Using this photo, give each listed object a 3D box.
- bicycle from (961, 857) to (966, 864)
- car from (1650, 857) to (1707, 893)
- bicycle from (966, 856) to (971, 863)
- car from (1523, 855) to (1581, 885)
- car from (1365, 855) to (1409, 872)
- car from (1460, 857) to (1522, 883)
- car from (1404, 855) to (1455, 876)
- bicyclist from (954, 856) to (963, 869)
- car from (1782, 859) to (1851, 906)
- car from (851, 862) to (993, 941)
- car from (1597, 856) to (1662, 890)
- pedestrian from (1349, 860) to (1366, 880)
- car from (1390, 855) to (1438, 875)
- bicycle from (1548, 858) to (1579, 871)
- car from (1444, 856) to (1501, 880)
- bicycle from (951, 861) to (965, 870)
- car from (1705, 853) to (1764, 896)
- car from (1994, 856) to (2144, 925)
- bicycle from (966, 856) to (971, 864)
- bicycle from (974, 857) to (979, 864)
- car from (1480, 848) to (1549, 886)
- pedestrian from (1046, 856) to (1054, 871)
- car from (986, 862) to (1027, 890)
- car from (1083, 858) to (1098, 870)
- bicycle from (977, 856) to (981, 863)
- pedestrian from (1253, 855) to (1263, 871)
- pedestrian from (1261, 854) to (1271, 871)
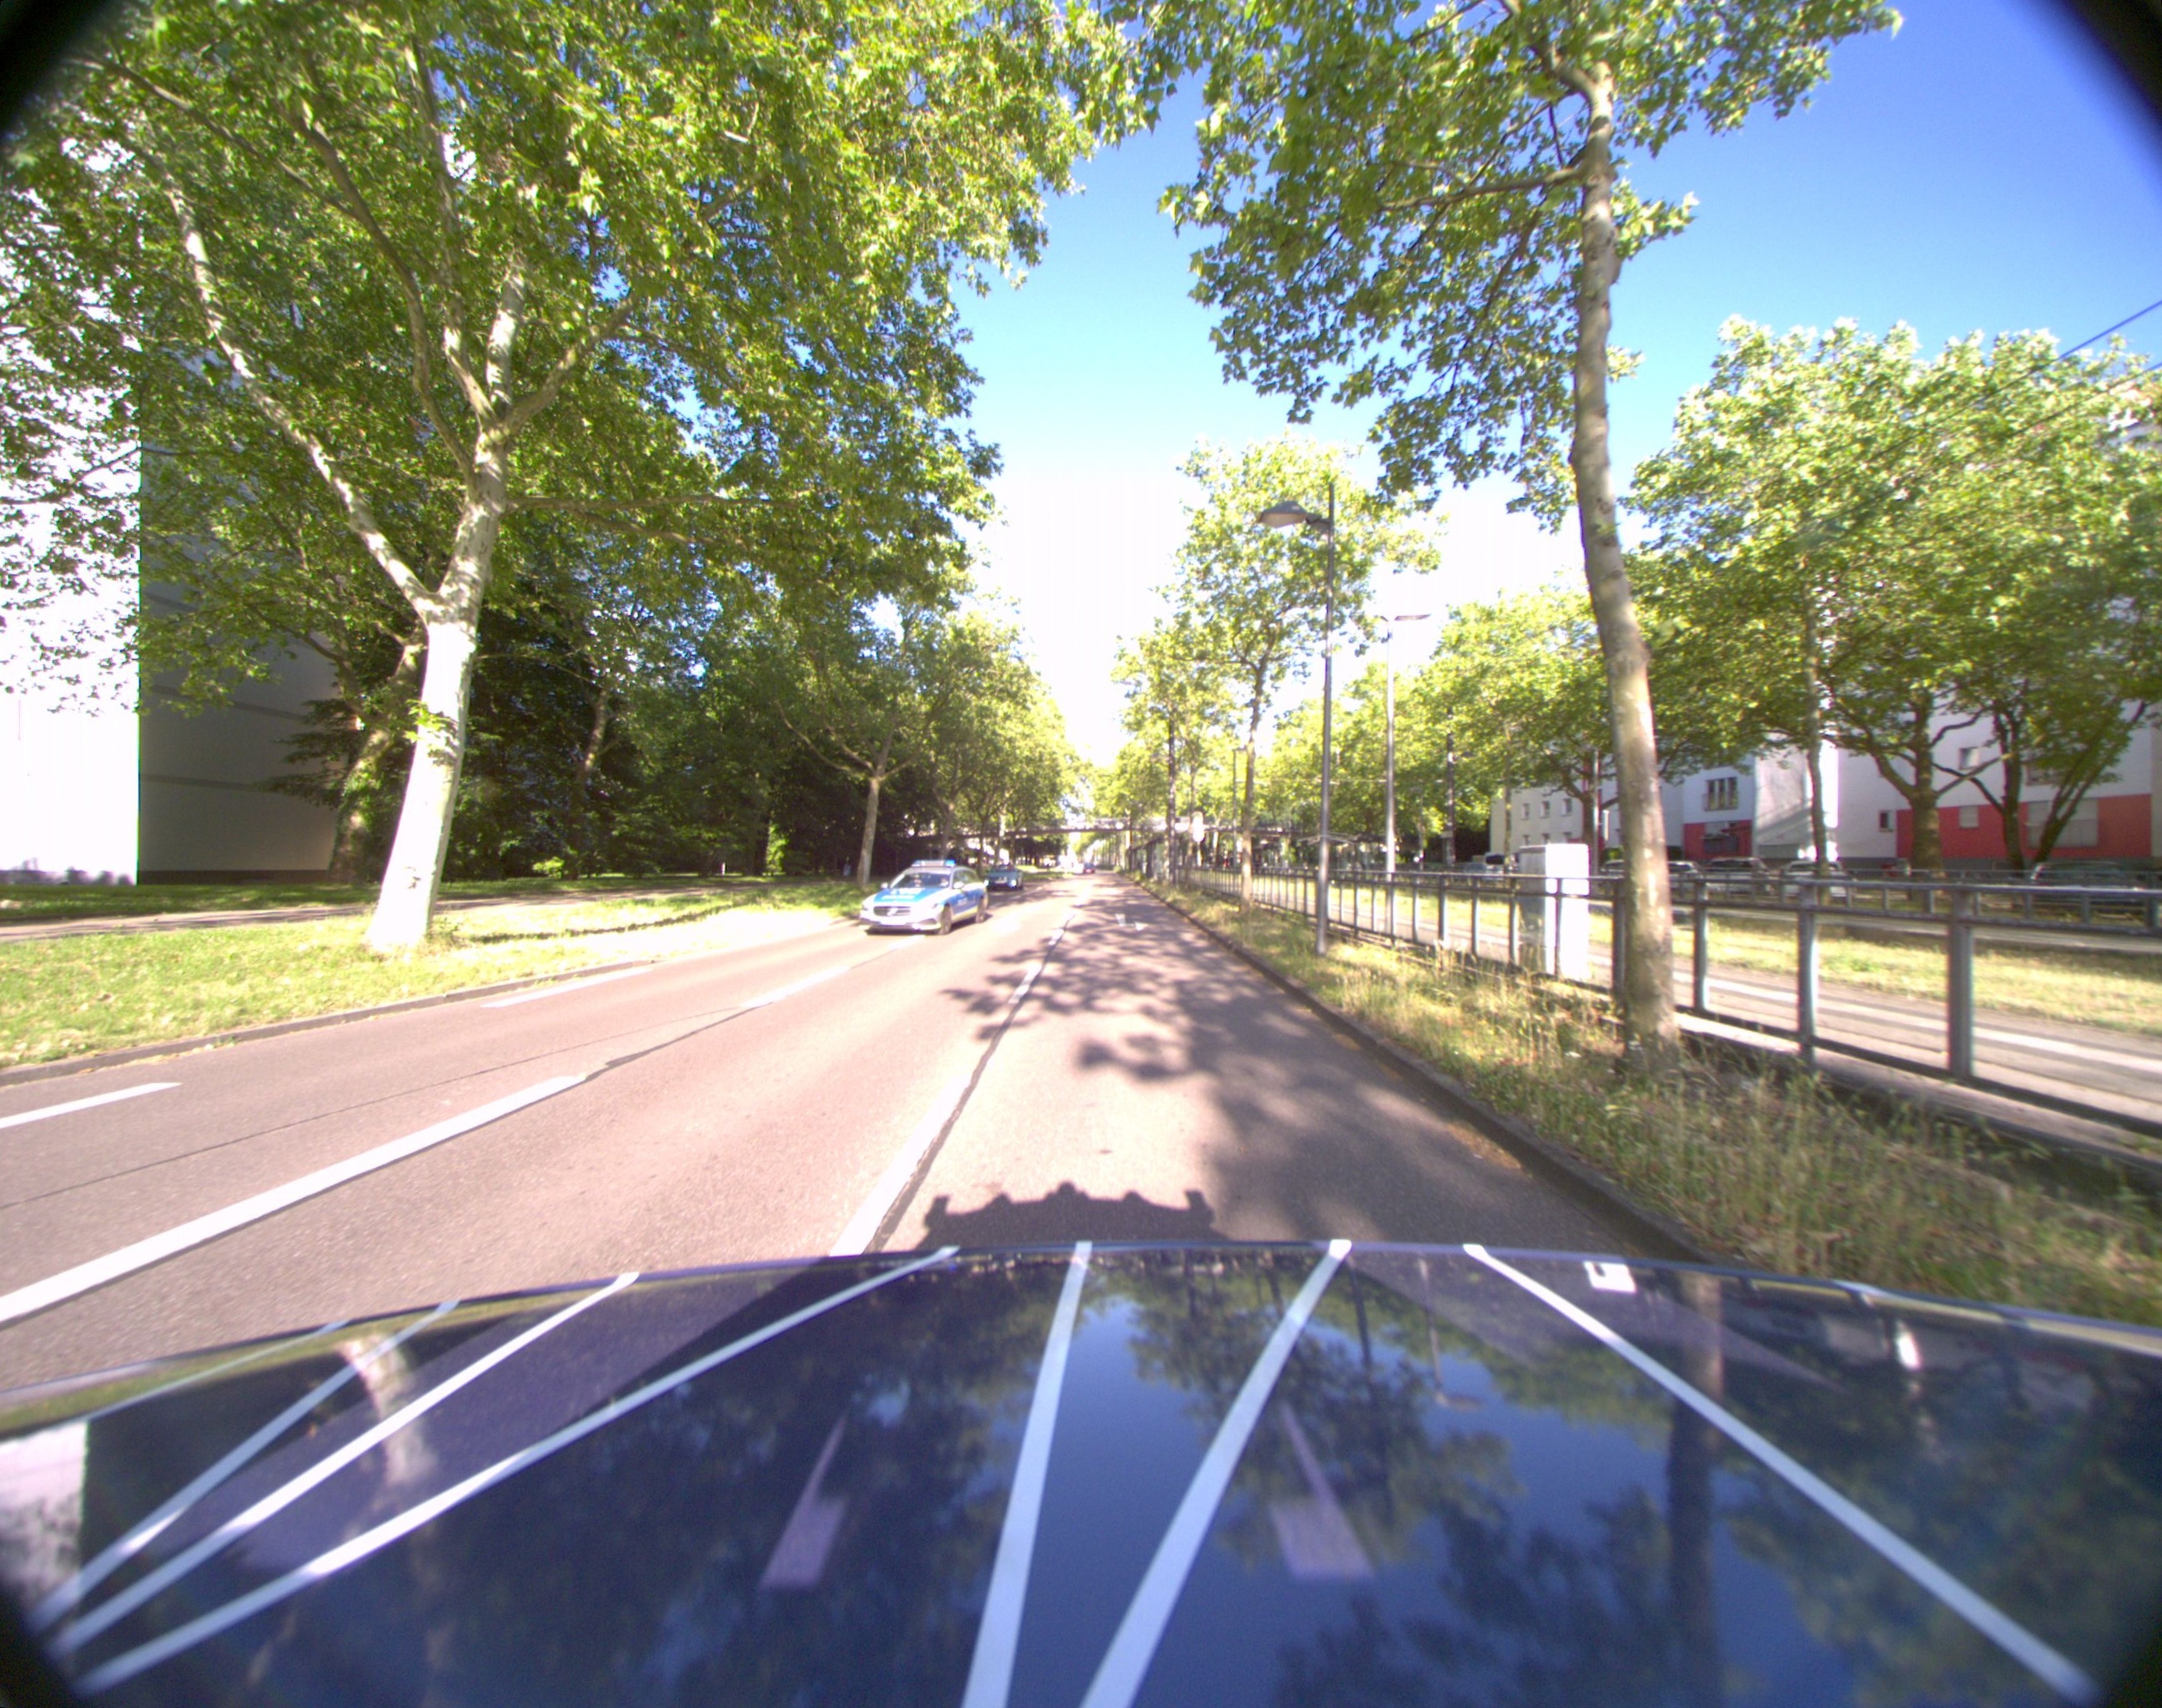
[{"bbox_3d":[-19.623,1.060,126.720,0.577,1.246,1.806,-1,0,-1],"label":"bicycle"},{"bbox_3d":[26.083,0.895,33.111,1.571,1.424,4.068,-2,-1,43],"label":"car"},{"bbox_3d":[-20.282,1.059,137.306,0.577,1.246,1.806,-1,0,-1],"label":"bicycle"},{"bbox_3d":[26.244,0.881,42.279,4.068,1.601,1.685,-1,-1,-42],"label":"car"},{"bbox_3d":[27.304,0.849,67.808,4.208,1.419,1.696,-1,-1,-37],"label":"car"},{"bbox_3d":[26.293,0.999,48.661,4.509,1.488,1.895,-1,-1,-40],"label":"car"},{"bbox_3d":[26.761,0.888,58.291,4.208,1.419,1.696,-1,-1,-37],"label":"car"},{"bbox_3d":[-16.588,1.142,102.928,0.954,1.622,0.817,2,-1,37],"label":"bicyclist"},{"bbox_3d":[25.273,0.936,26.189,1.571,1.465,4.068,-2,-1,43],"label":"car"},{"bbox_3d":[-3.631,1.025,18.296,1.897,1.623,4.504,-1,0,8],"label":"car"},{"bbox_3d":[26.112,0.886,36.118,1.895,1.495,4.510,-2,-1,43],"label":"car"},{"bbox_3d":[16.285,0.946,44.723,0.696,1.121,0.662,3,1,2],"label":"pedestrian"},{"bbox_3d":[26.798,0.879,61.082,4.208,1.419,1.696,-1,-1,-37],"label":"car"},{"bbox_3d":[38.203,0.834,60.154,0.697,0.922,2.596,-2,-1,-2],"label":"bicycle"},{"bbox_3d":[26.947,0.973,52.233,4.509,1.488,1.895,-1,-1,-40],"label":"car"},{"bbox_3d":[-16.641,1.588,102.956,1.831,1.140,0.817,1,-1,37],"label":"bicycle"},{"bbox_3d":[25.795,0.783,29.956,1.571,1.559,4.068,-2,-1,43],"label":"car"},{"bbox_3d":[24.795,0.844,19.227,1.642,1.535,4.184,-2,-1,43],"label":"car"},{"bbox_3d":[-19.738,1.046,132.794,0.577,1.246,1.806,-1,0,-1],"label":"bicycle"},{"bbox_3d":[-18.493,1.210,134.478,0.577,1.246,1.806,-1,0,-1],"label":"bicycle"},{"bbox_3d":[25.879,0.759,45.295,4.508,2.050,1.895,-1,-1,-37],"label":"car"},{"bbox_3d":[-3.641,1.180,89.925,0.658,1.766,0.741,-1,-1,38],"label":"pedestrian"},{"bbox_3d":[-4.195,1.222,43.401,1.780,1.474,4.101,-2,-1,1],"label":"car"},{"bbox_3d":[1.297,1.315,100.939,1.898,1.601,4.000,-1,0,1],"label":"car"},{"bbox_3d":[-18.715,1.089,139.389,0.577,1.246,1.806,-1,0,-1],"label":"bicycle"},{"bbox_3d":[16.754,0.868,71.791,0.644,1.505,0.683,1,0,-11],"label":"pedestrian"},{"bbox_3d":[17.342,0.784,71.188,0.731,1.625,0.715,1,1,-1],"label":"pedestrian"}]
